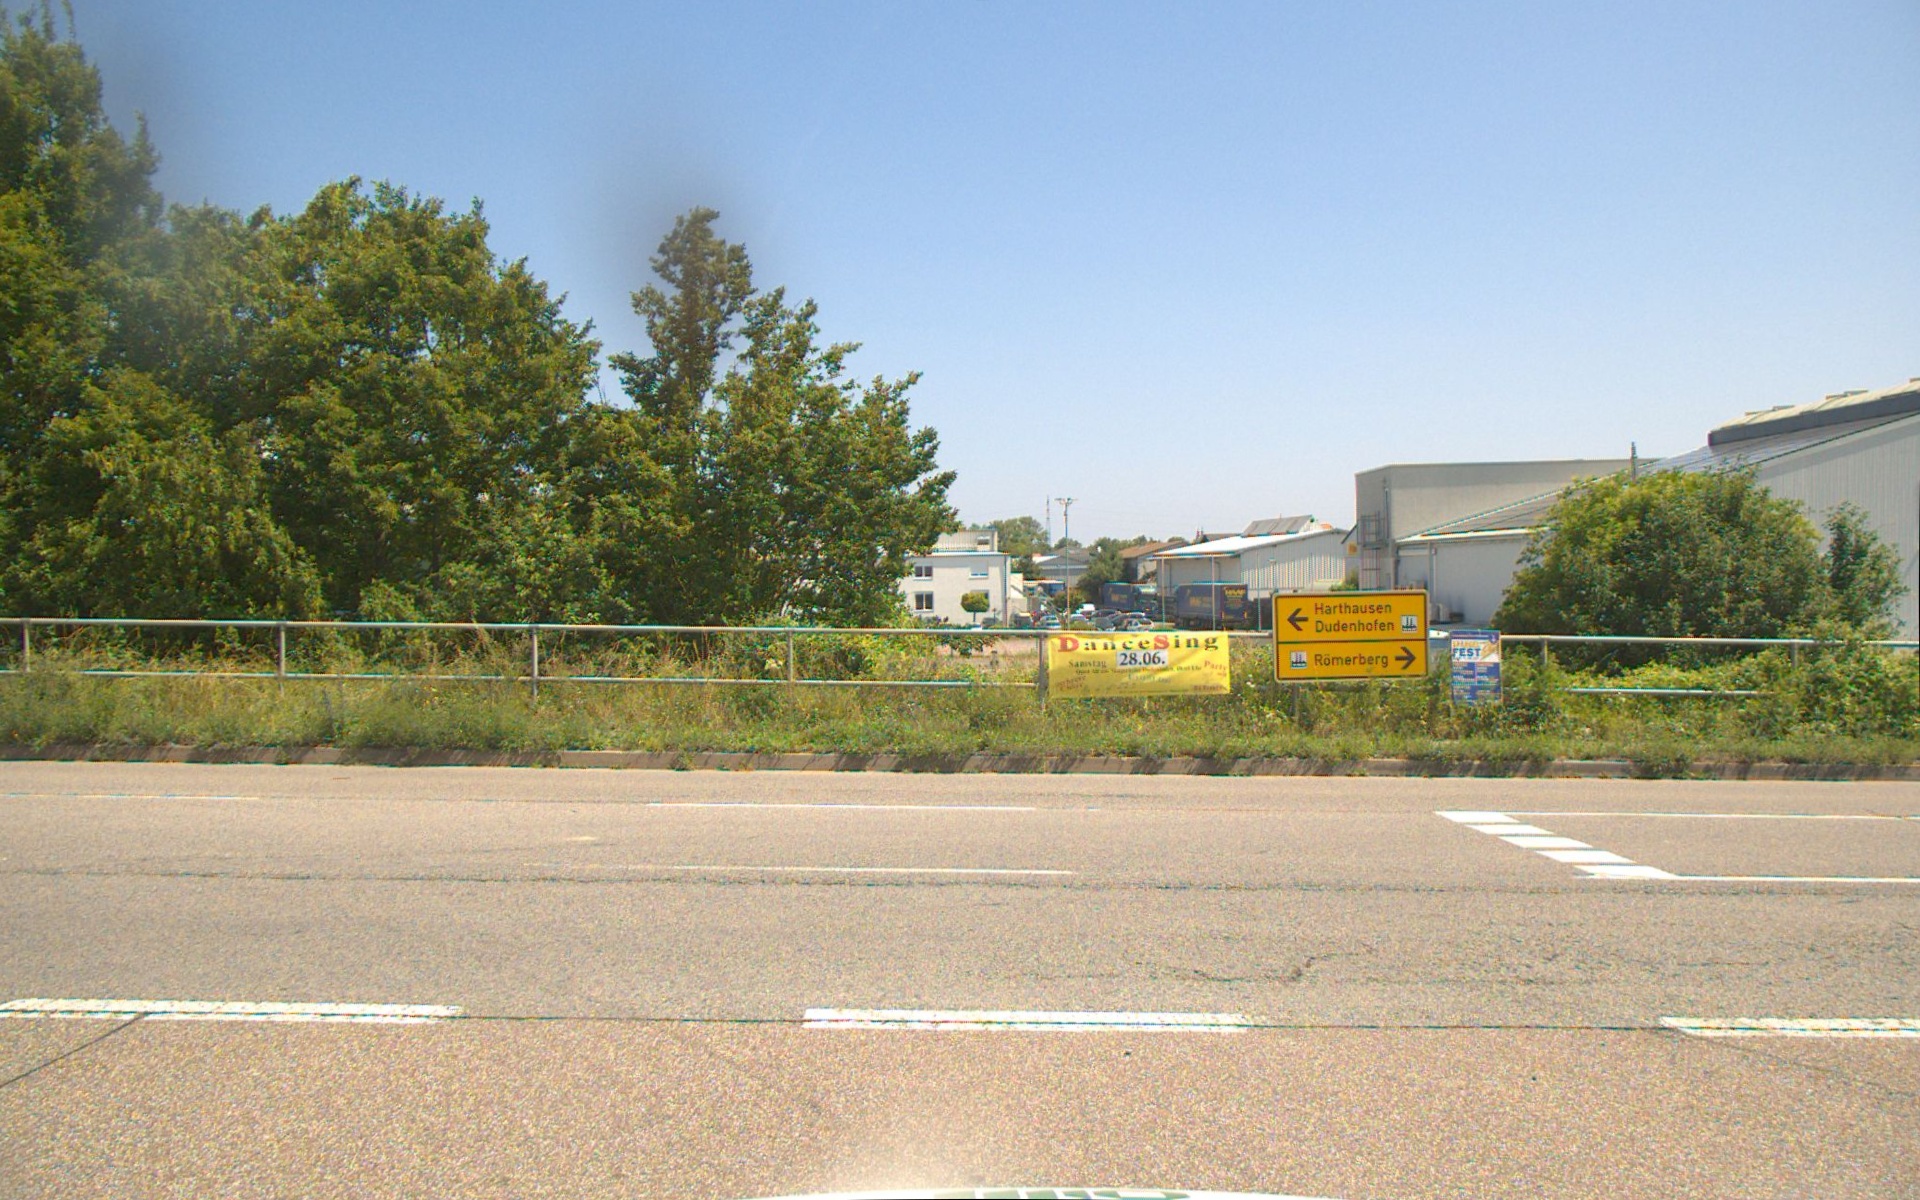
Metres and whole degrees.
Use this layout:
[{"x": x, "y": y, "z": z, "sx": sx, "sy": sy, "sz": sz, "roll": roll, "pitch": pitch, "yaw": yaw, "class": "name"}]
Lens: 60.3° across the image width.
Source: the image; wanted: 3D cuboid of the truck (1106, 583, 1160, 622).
[{"x": 19.690, "y": 0.247, "z": 189.198, "sx": 3.345, "sy": 4.386, "sz": 14.576, "roll": 0, "pitch": 0, "yaw": -5, "class": "truck"}]

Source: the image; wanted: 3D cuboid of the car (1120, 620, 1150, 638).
[{"x": 14.620, "y": 2.403, "z": 138.112, "sx": 1.651, "sy": 1.387, "sz": 3.831, "roll": -3, "pitch": 1, "yaw": -6, "class": "car"}]

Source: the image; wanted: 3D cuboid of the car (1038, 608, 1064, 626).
[{"x": 9.486, "y": 1.777, "z": 172.237, "sx": 1.955, "sy": 1.761, "sz": 4.856, "roll": 1, "pitch": 0, "yaw": -6, "class": "car"}]

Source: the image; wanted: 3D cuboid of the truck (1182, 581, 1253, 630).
[{"x": 23.945, "y": 0.425, "z": 154.897, "sx": 3.635, "sy": 4.386, "sz": 13.330, "roll": 0, "pitch": 0, "yaw": -4, "class": "truck"}]

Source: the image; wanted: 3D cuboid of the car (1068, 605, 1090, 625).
[{"x": 12.813, "y": 1.622, "z": 178.444, "sx": 1.684, "sy": 2.049, "sz": 3.995, "roll": 0, "pitch": 0, "yaw": -6, "class": "car"}]

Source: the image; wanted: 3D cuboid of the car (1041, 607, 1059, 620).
[{"x": 9.886, "y": 1.454, "z": 181.351, "sx": 1.423, "sy": 1.374, "sz": 3.311, "roll": 0, "pitch": 0, "yaw": -7, "class": "car"}]
